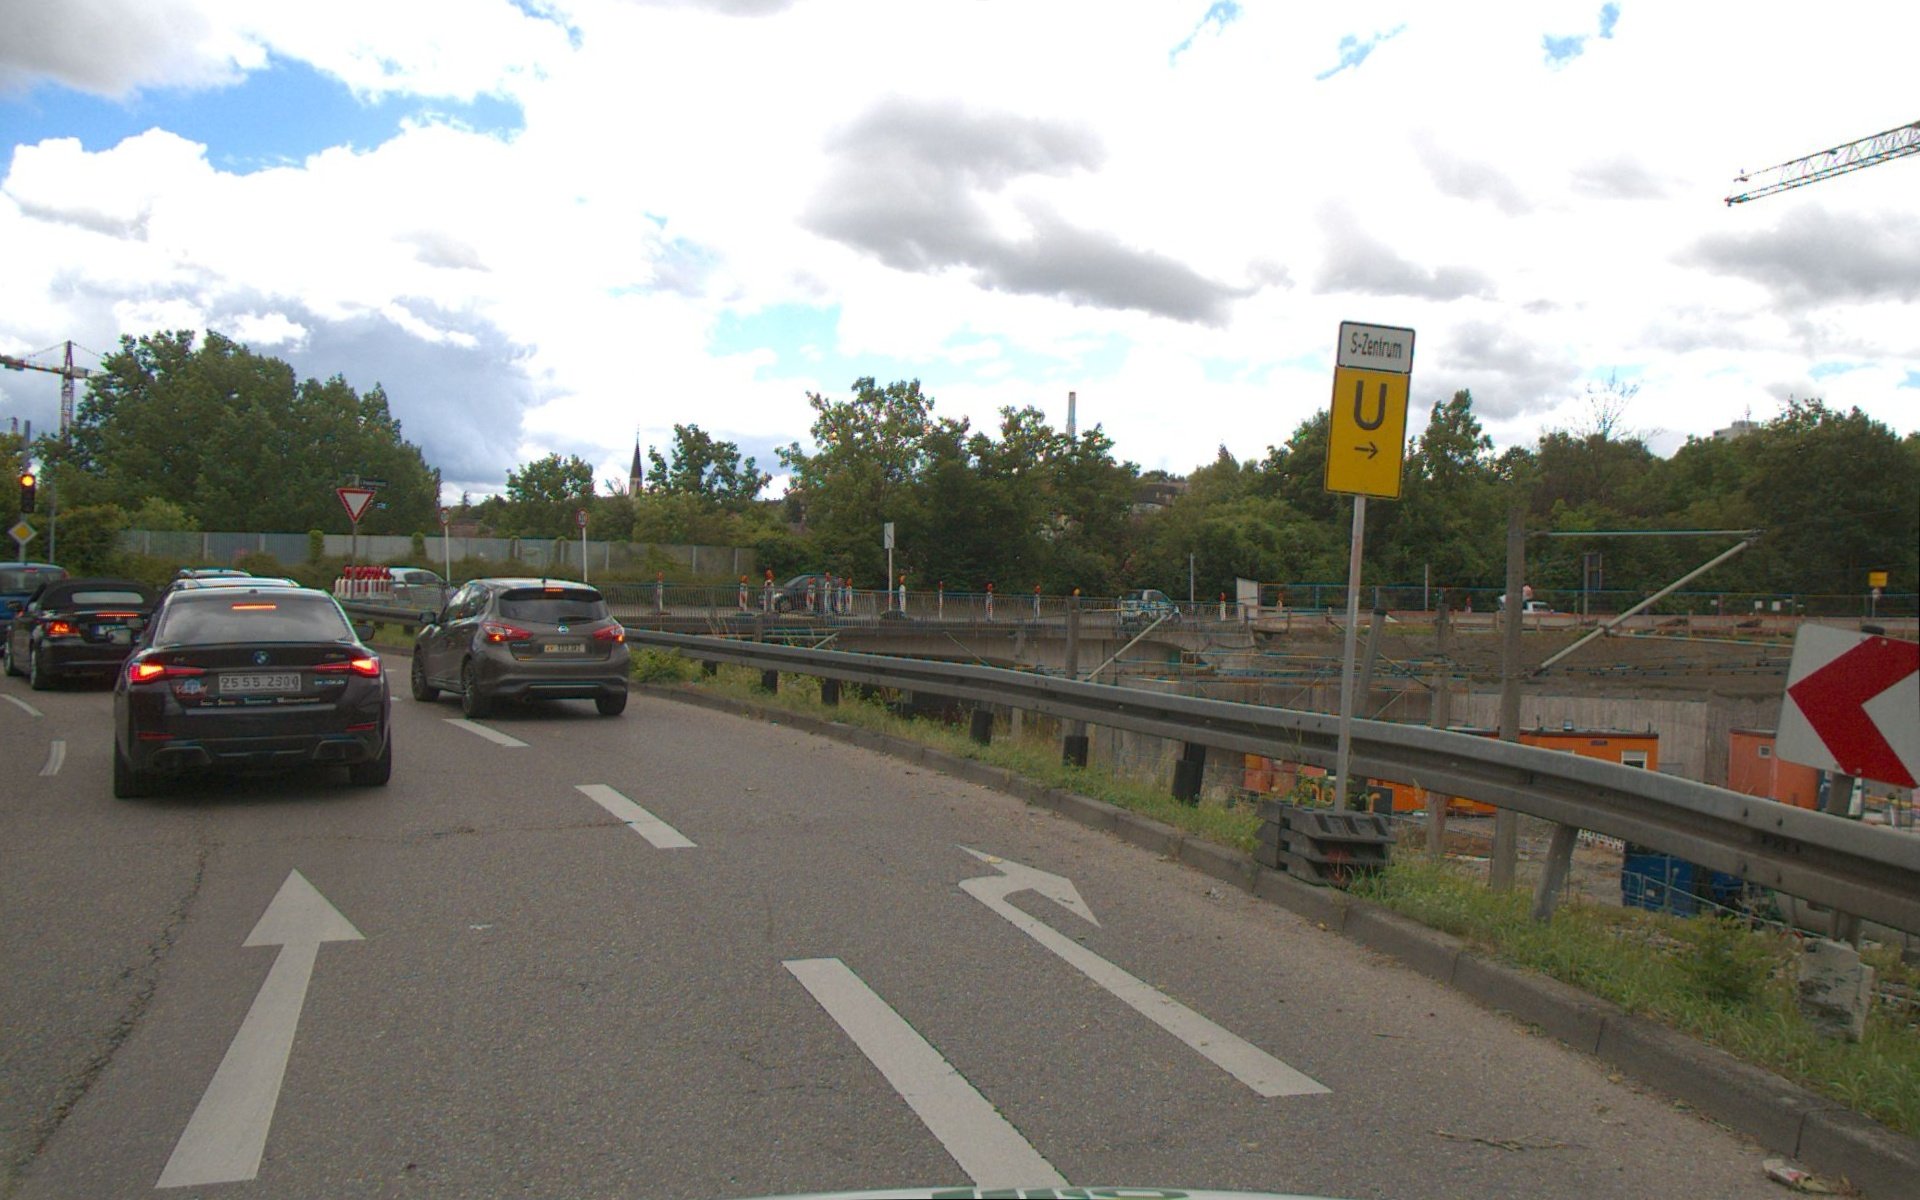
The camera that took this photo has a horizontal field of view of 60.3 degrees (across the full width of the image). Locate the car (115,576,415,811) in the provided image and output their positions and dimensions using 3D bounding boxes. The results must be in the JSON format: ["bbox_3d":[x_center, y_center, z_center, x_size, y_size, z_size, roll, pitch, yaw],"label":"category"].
[{"bbox_3d":[-5.663,0.568,13.332,1.849,1.502,4.925,-1,1,-25],"label":"car"}]

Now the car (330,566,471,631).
[{"bbox_3d":[-15.648,-0.007,46.446,1.676,1.704,4.001,1,-1,17],"label":"car"}]

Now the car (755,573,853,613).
[{"bbox_3d":[-6.461,-0.256,68.621,3.743,1.579,1.624,1,-2,-34],"label":"car"}]

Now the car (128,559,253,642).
[{"bbox_3d":[-15.673,-0.004,33.603,1.802,1.579,3.746,1,0,-33],"label":"car"}]

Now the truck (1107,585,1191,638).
[{"bbox_3d":[8.180,0.503,71.542,3.192,2.049,1.718,5,-1,-37],"label":"truck"}]

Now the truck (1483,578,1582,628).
[{"bbox_3d":[27.187,0.154,78.553,3.917,2.049,1.994,4,-1,-12],"label":"truck"}]

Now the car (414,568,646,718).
[{"bbox_3d":[-5.177,0.434,19.563,1.777,1.579,3.963,0,0,-28],"label":"car"}]

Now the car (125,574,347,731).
[{"bbox_3d":[-8.017,0.482,18.154,1.653,1.495,3.587,-2,2,-33],"label":"car"}]

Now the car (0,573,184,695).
[{"bbox_3d":[-11.913,0.391,22.545,1.553,1.391,4.028,-2,3,-38],"label":"car"}]

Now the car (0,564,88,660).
[{"bbox_3d":[-16.322,0.159,28.180,3.319,1.533,1.539,1,1,42],"label":"car"}]

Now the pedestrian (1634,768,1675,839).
[{"bbox_3d":[21.335,6.242,50.818,0.789,2.049,0.699,6,-3,-20],"label":"pedestrian"}]

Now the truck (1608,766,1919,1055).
[{"bbox_3d":[17.163,5.764,30.148,2.797,3.960,11.549,2,1,-21],"label":"truck"}]
